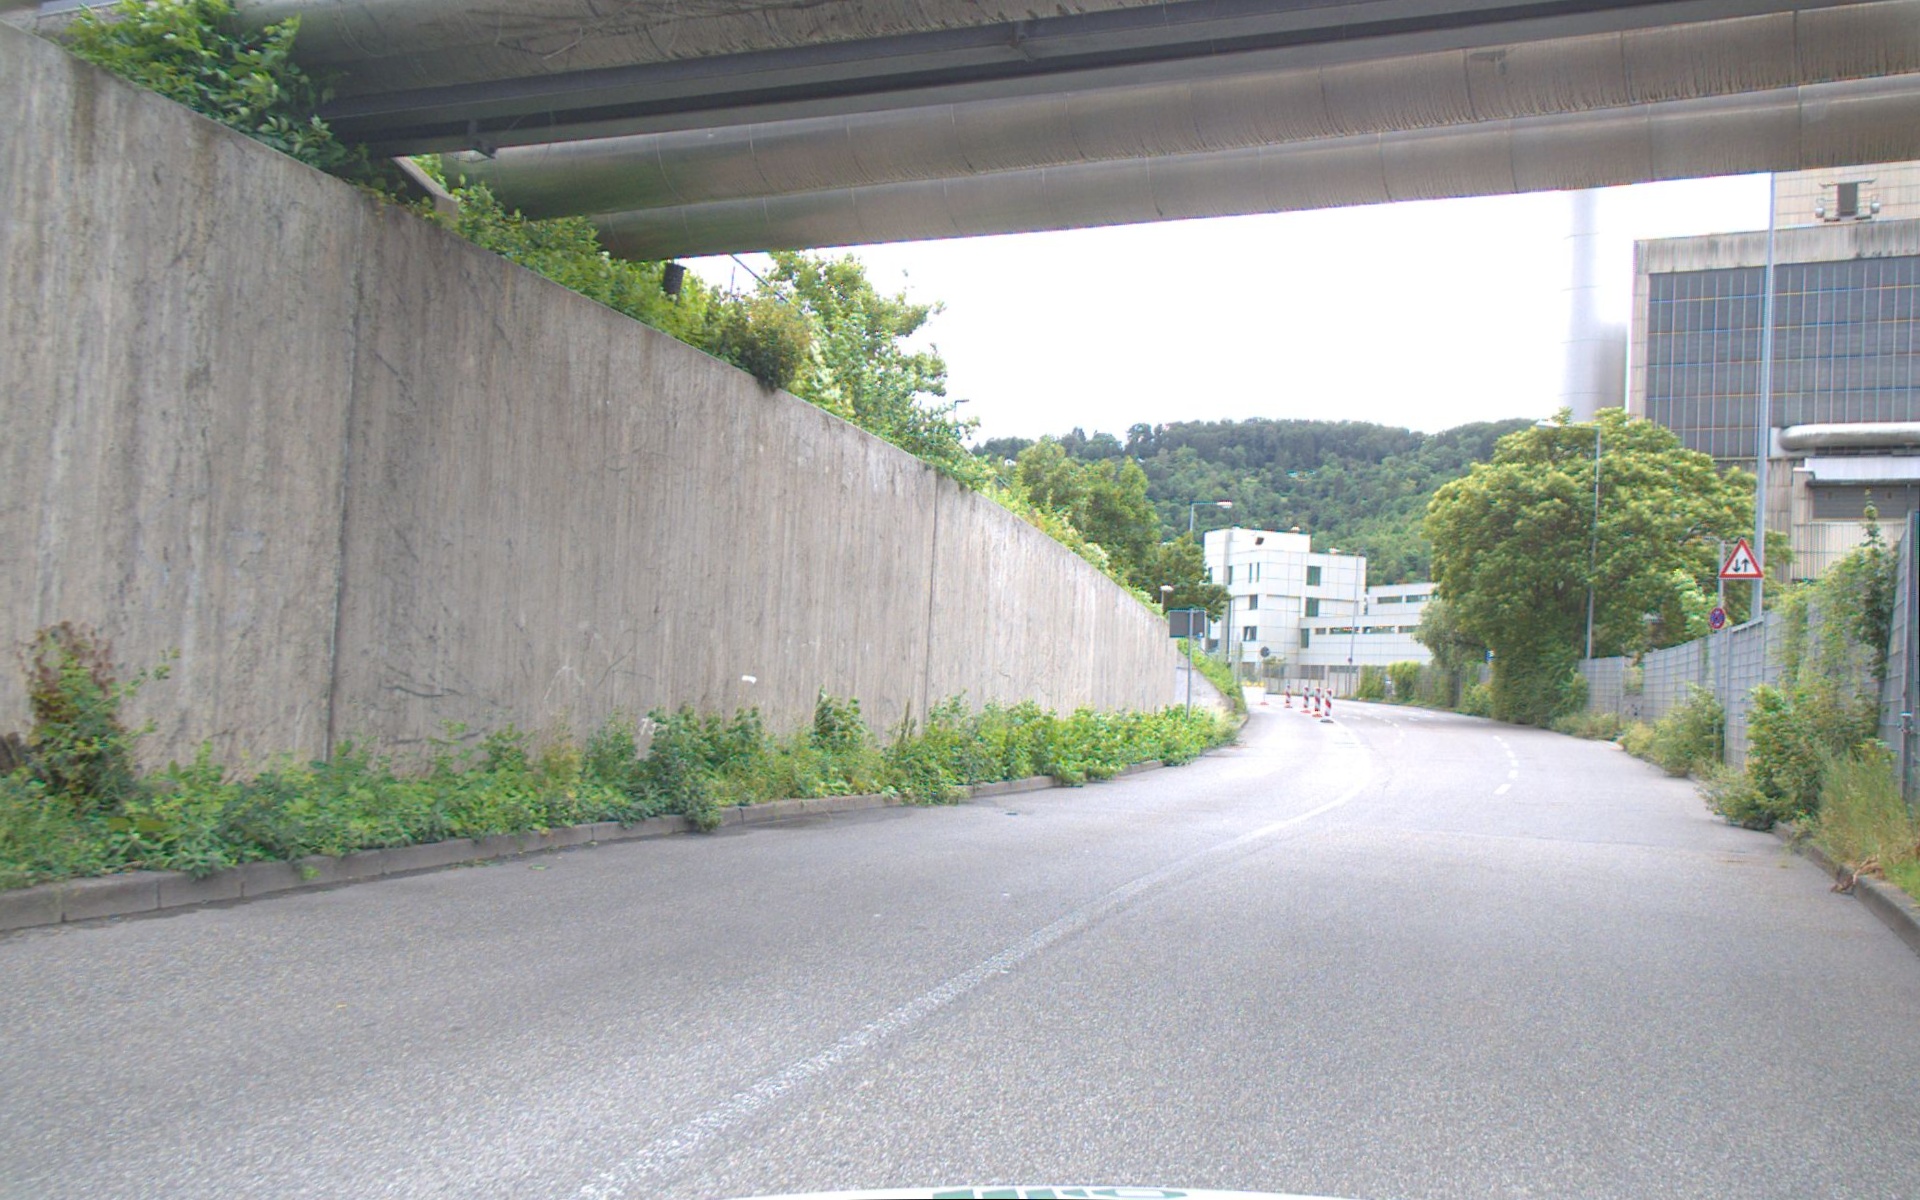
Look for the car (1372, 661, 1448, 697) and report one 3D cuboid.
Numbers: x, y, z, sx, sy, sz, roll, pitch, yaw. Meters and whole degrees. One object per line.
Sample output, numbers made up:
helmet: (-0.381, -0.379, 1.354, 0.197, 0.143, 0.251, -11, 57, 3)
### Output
car: (36.567, 6.402, 134.549, 1.975, 2.302, 6.101, 6, -1, -33)
